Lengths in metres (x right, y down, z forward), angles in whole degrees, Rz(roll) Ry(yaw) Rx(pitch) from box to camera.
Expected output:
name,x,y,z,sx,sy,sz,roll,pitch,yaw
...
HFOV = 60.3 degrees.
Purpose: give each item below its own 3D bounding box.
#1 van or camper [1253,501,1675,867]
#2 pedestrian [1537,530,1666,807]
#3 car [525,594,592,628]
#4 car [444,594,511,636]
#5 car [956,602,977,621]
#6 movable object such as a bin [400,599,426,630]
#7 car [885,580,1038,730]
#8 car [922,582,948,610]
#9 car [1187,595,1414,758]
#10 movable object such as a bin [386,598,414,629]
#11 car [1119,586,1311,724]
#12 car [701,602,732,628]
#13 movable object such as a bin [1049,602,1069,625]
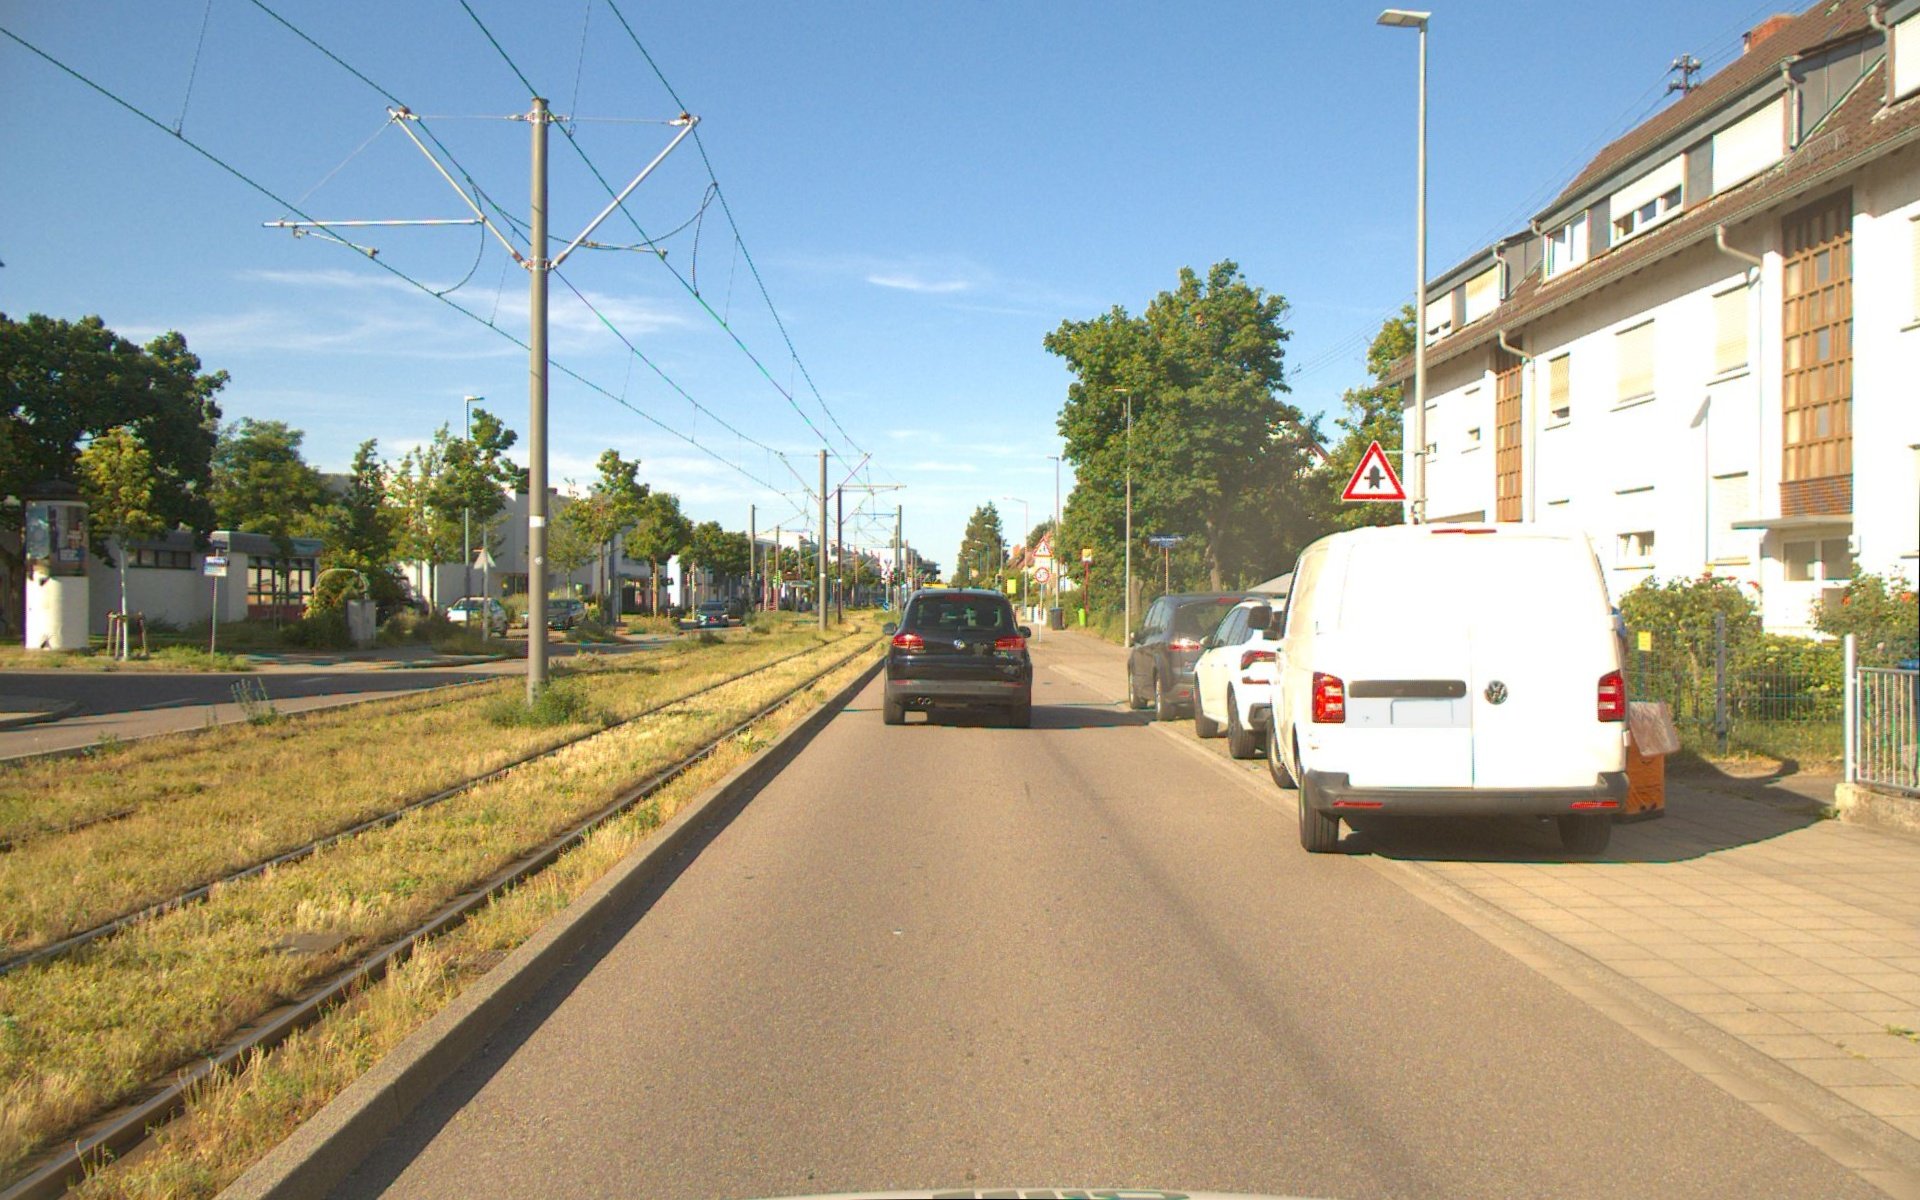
name,x,y,z,sx,sy,sz,roll,pitch,yaw
van or camper,3.228,0.449,11.748,1.985,1.990,5.299,0,0,7
pedestrian,4.691,0.487,12.129,0.684,1.946,0.759,2,-1,8
car,-18.551,0.505,76.560,1.772,1.486,4.319,2,0,4
car,-18.388,0.574,63.208,1.513,1.517,3.774,2,0,-2
car,0.584,1.055,154.784,1.740,1.699,3.998,0,0,-3
movable object such as a bin,-25.823,0.676,78.144,0.650,1.459,1.255,2,-1,7
car,-0.064,0.650,21.220,1.740,1.699,3.998,2,0,-3
car,-2.348,-0.350,157.713,2.345,2.609,5.529,0,0,0
car,3.468,0.731,17.543,1.622,1.518,4.160,0,0,1
movable object such as a bin,-25.901,0.629,76.536,0.650,1.407,1.422,2,-1,7
car,3.409,0.675,23.023,1.755,1.657,4.859,-2,0,-2
car,-14.183,0.882,96.575,1.656,1.413,4.380,-2,0,-7
movable object such as a bin,4.791,0.652,80.050,0.955,1.130,1.171,0,0,3
